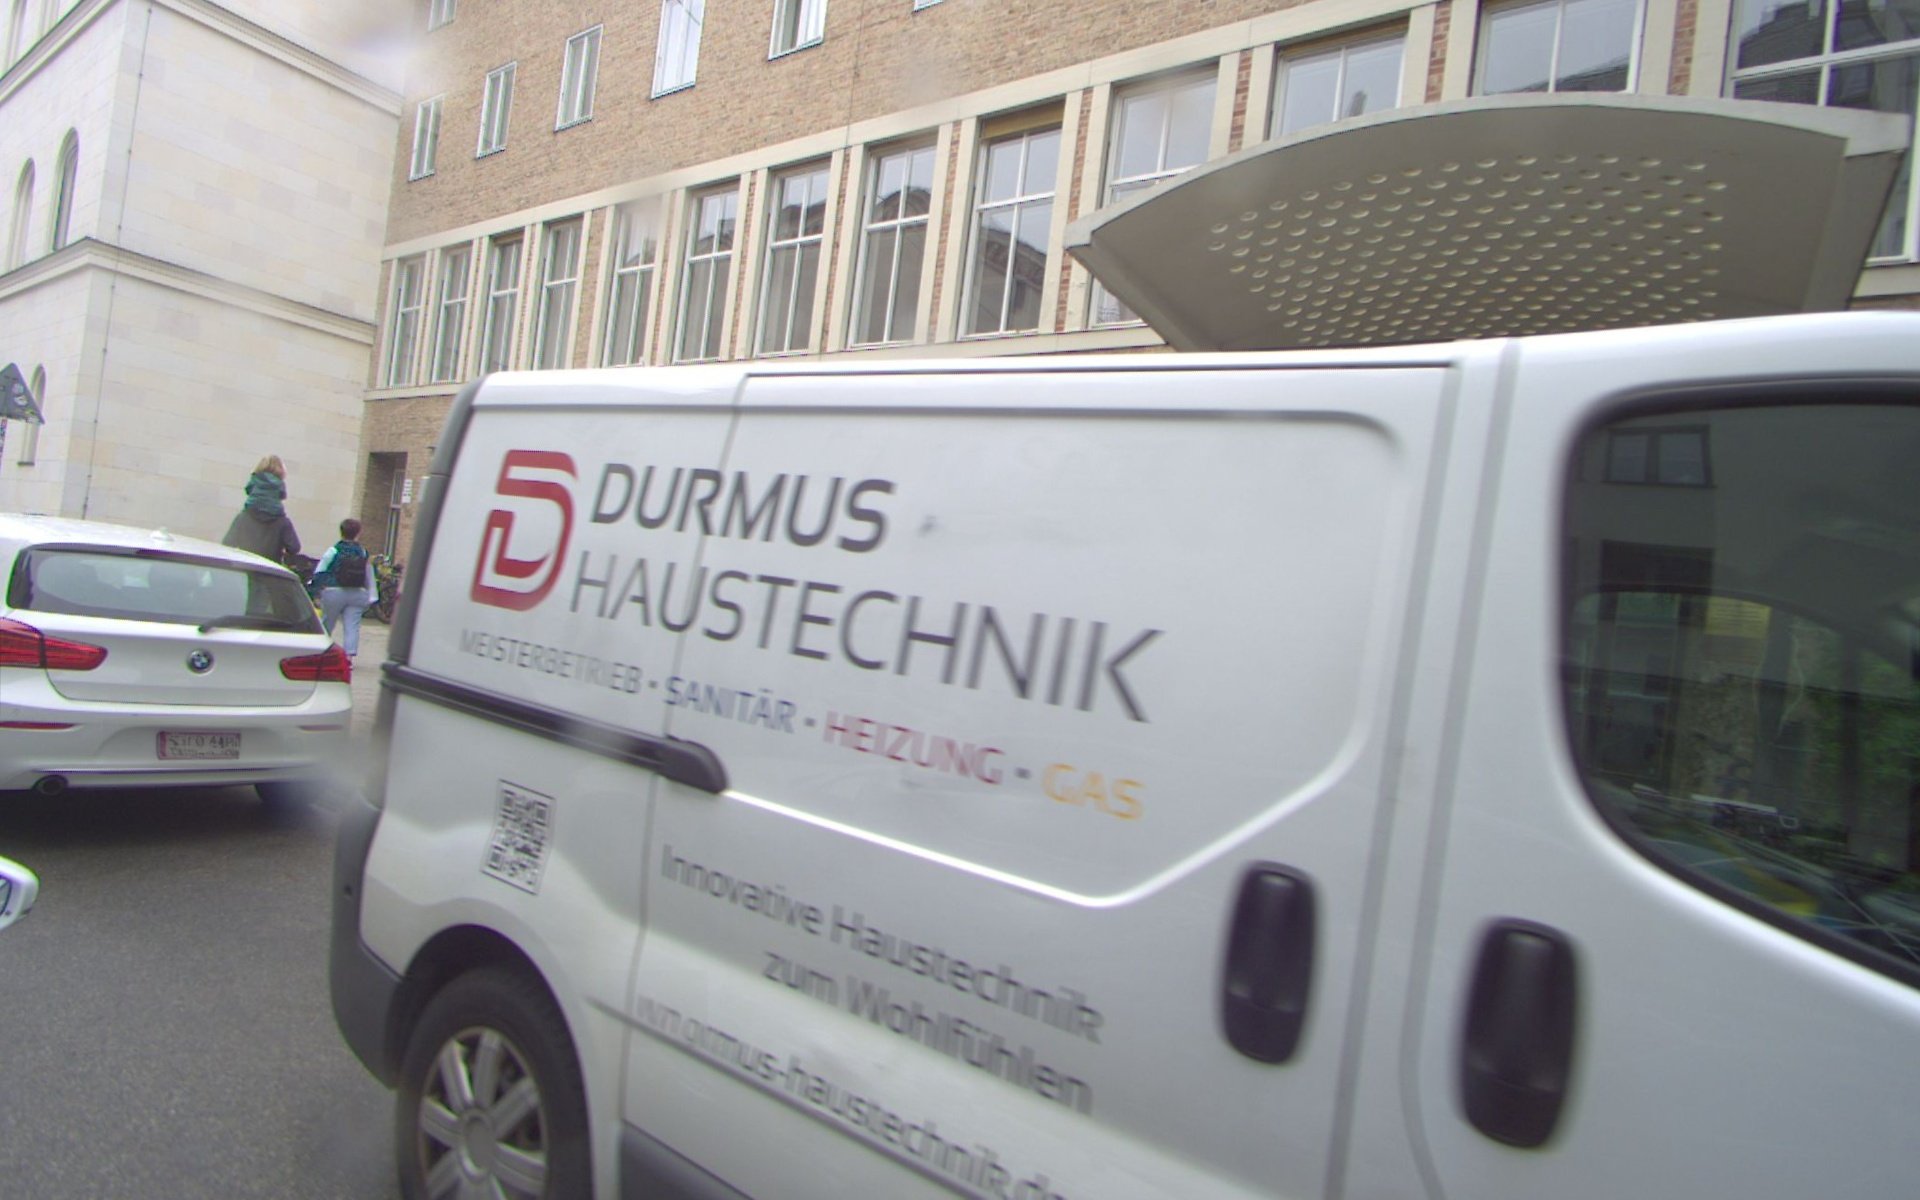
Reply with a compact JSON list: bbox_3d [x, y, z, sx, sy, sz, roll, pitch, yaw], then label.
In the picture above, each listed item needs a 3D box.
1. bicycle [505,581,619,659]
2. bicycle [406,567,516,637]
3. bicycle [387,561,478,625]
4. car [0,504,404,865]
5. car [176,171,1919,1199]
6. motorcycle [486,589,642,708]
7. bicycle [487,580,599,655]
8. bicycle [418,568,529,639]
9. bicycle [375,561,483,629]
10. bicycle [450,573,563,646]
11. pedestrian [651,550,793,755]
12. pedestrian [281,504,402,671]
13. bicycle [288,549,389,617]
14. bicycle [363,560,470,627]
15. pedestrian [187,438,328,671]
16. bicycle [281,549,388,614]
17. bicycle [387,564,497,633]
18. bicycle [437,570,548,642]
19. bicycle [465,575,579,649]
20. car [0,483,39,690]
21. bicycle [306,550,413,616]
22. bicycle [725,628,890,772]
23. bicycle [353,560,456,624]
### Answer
[{"bbox_3d":[-5.982,0.327,15.196,0.342,1.055,1.632,7,0,31],"label":"bicycle"},{"bbox_3d":[-8.610,0.050,17.424,0.343,1.055,1.629,7,0,38],"label":"bicycle"},{"bbox_3d":[-9.918,-0.118,18.960,0.343,1.055,1.430,7,0,34],"label":"bicycle"},{"bbox_3d":[-5.157,0.227,5.745,4.134,1.433,1.676,7,-2,34],"label":"car"},{"bbox_3d":[0.559,0.592,2.128,4.795,1.947,1.885,7,-1,33],"label":"car"},{"bbox_3d":[-4.466,0.524,11.285,1.892,1.066,0.489,7,-1,32],"label":"motorcycle"},{"bbox_3d":[-6.517,0.301,15.802,0.343,1.055,1.631,7,0,32],"label":"bicycle"},{"bbox_3d":[-8.246,0.081,17.118,0.343,1.055,1.629,7,0,38],"label":"bicycle"},{"bbox_3d":[-9.459,-0.072,17.984,0.343,1.055,1.629,7,0,38],"label":"bicycle"},{"bbox_3d":[-7.442,0.171,16.568,0.343,1.055,1.629,7,0,38],"label":"bicycle"},{"bbox_3d":[-2.081,0.452,8.804,0.863,1.652,0.588,7,-1,36],"label":"pedestrian"},{"bbox_3d":[-6.938,-0.138,11.282,0.855,1.713,0.742,8,0,-43],"label":"pedestrian"},{"bbox_3d":[-10.967,-0.282,17.785,0.343,1.055,1.430,7,0,34],"label":"bicycle"},{"bbox_3d":[-9.828,-0.105,18.252,0.343,1.055,1.629,7,0,38],"label":"bicycle"},{"bbox_3d":[-7.197,-0.454,10.313,0.802,2.223,0.792,7,-1,42],"label":"pedestrian"},{"bbox_3d":[-11.838,-0.335,19.085,0.343,1.055,1.628,7,0,40],"label":"bicycle"},{"bbox_3d":[-9.066,-0.006,17.664,0.343,1.055,1.629,7,0,38],"label":"bicycle"},{"bbox_3d":[-7.842,0.118,16.937,0.343,1.055,1.629,7,0,38],"label":"bicycle"},{"bbox_3d":[-7.061,0.211,16.285,0.343,1.055,1.629,7,0,38],"label":"bicycle"},{"bbox_3d":[-9.486,-0.360,8.334,3.892,1.612,1.750,7,-2,34],"label":"car"},{"bbox_3d":[-11.254,-0.301,18.892,0.343,1.055,1.628,7,0,40],"label":"bicycle"},{"bbox_3d":[-1.413,0.892,9.195,1.464,1.066,0.422,7,-1,34],"label":"bicycle"},{"bbox_3d":[-10.514,-0.131,19.087,0.343,1.055,1.629,7,0,38],"label":"bicycle"}]
